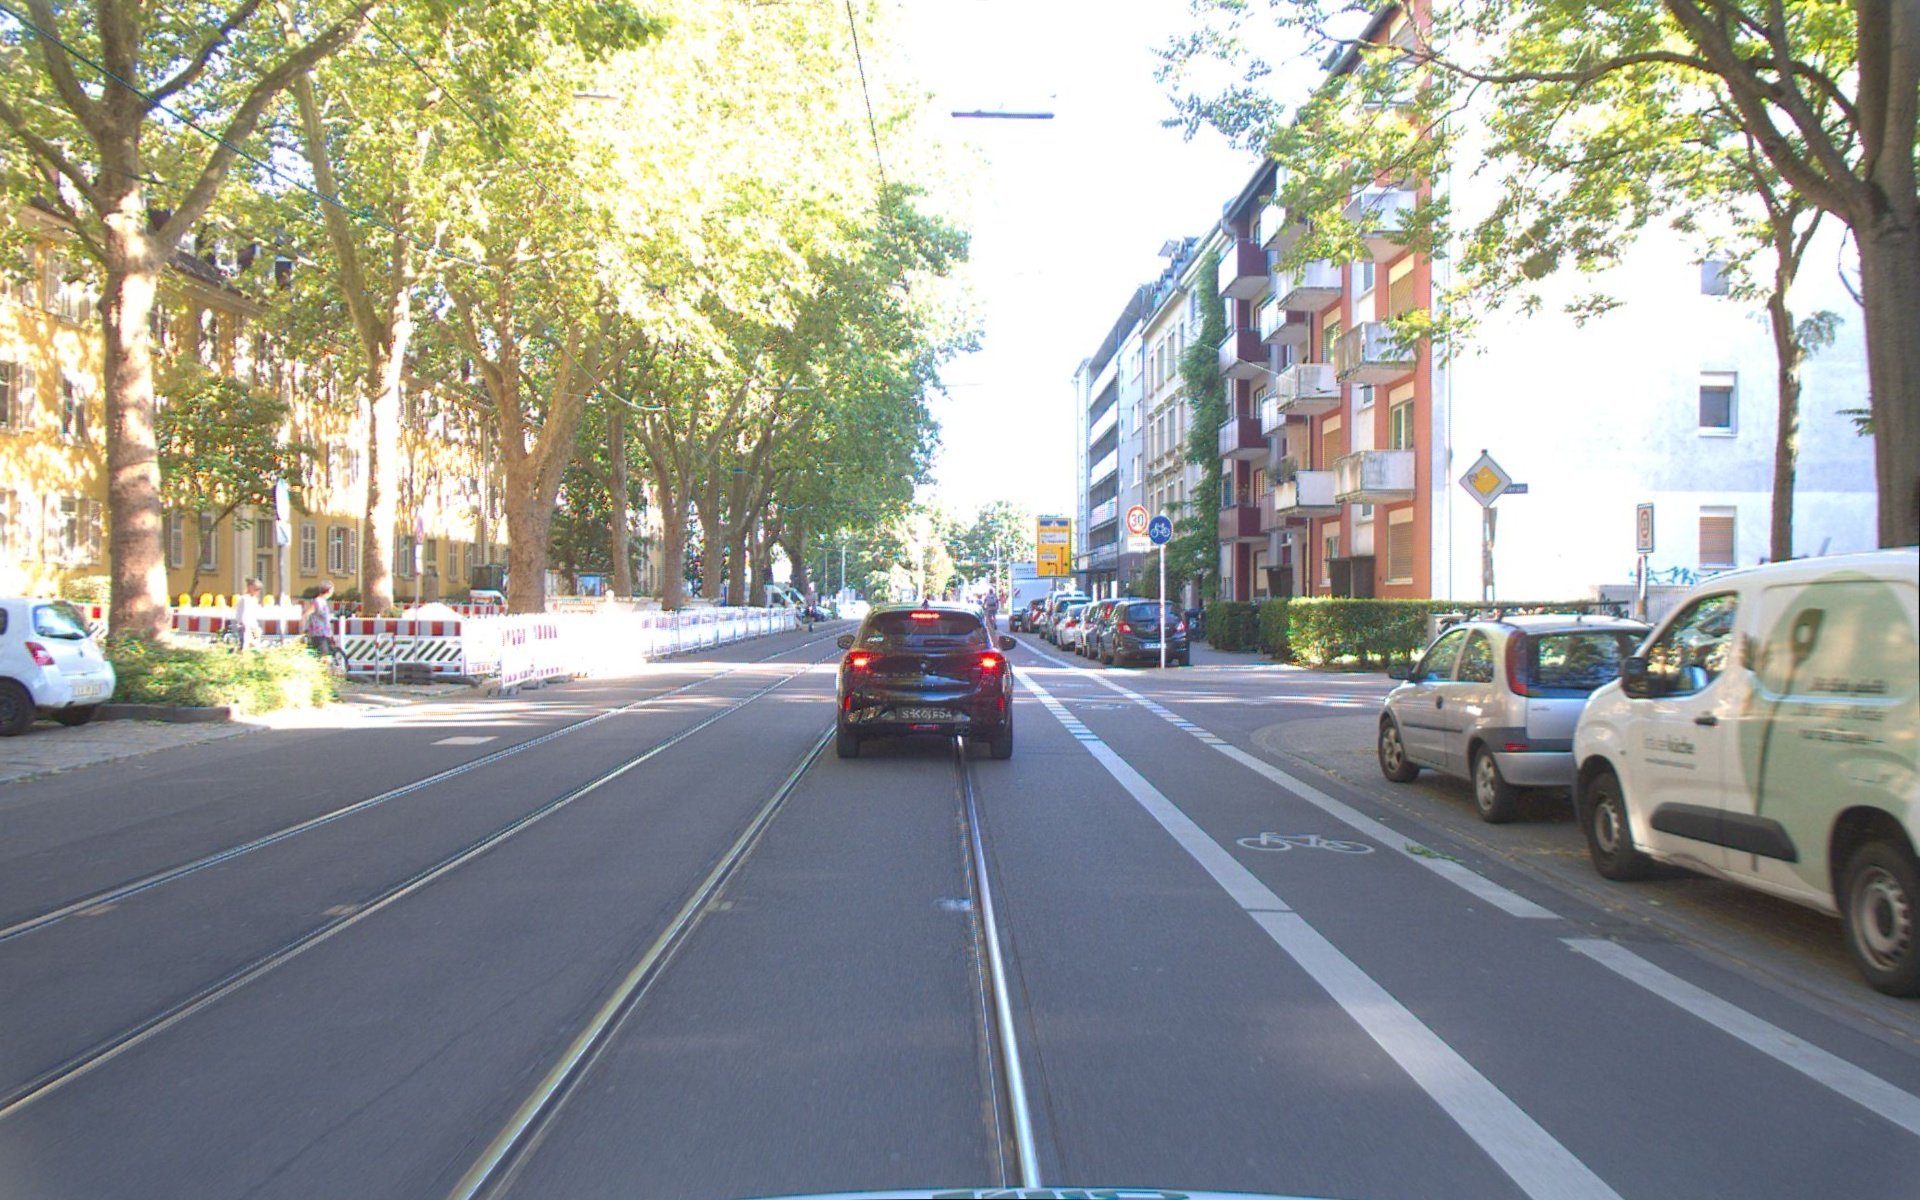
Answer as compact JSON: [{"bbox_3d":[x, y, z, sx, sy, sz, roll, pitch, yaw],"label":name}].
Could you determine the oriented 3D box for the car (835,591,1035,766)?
[{"bbox_3d":[-0.257,0.679,16.545,1.745,1.522,3.999,1,0,-1],"label":"car"}]

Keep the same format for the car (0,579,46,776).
[{"bbox_3d":[-10.495,0.694,14.314,4.144,1.717,1.934,0,0,6],"label":"car"}]

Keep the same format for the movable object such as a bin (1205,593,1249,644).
[{"bbox_3d":[7.313,0.497,45.415,0.905,1.350,1.681,1,0,0],"label":"movable object such as a bin"}]

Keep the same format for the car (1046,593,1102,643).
[{"bbox_3d":[3.898,0.589,56.951,1.626,1.608,3.588,-1,0,0],"label":"car"}]

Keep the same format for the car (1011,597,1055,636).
[{"bbox_3d":[3.183,0.712,72.811,1.695,1.584,4.151,-3,0,0],"label":"car"}]

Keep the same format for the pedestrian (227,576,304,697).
[{"bbox_3d":[-10.518,0.547,25.068,0.805,1.775,0.796,1,-1,-1],"label":"pedestrian"}]

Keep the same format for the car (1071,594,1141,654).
[{"bbox_3d":[4.026,0.662,46.195,1.559,1.553,3.835,-2,0,0],"label":"car"}]

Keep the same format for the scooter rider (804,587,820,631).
[{"bbox_3d":[-6.824,0.416,76.383,0.636,1.991,0.624,1,-1,0],"label":"scooter rider"}]

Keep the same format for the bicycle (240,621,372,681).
[{"bbox_3d":[-11.047,0.850,27.958,1.932,0.979,0.726,0,0,0],"label":"bicycle"}]

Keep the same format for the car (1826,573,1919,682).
[{"bbox_3d":[18.440,0.464,29.816,4.626,1.823,2.005,0,3,-2],"label":"car"}]

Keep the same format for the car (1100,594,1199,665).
[{"bbox_3d":[4.282,0.631,37.827,1.698,1.487,3.915,-2,0,-1],"label":"car"}]

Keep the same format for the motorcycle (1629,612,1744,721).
[{"bbox_3d":[9.265,0.818,21.185,0.663,1.321,2.259,0,0,5],"label":"motorcycle"}]

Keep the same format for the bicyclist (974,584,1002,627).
[{"bbox_3d":[1.117,0.212,65.495,1.067,1.676,1.400,1,0,0],"label":"bicyclist"}]

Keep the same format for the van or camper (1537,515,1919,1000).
[{"bbox_3d":[4.585,0.601,8.166,1.719,1.897,4.829,0,0,-1],"label":"van or camper"}]

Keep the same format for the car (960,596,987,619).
[{"bbox_3d":[1.078,0.563,133.477,1.953,1.725,4.739,-2,0,-1],"label":"car"}]

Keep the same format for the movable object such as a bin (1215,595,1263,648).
[{"bbox_3d":[7.350,0.557,43.572,0.947,1.350,1.721,1,0,0],"label":"movable object such as a bin"}]

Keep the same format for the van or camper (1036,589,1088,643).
[{"bbox_3d":[3.792,0.574,61.963,1.635,1.916,4.210,-1,0,0],"label":"van or camper"}]

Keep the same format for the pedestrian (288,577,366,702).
[{"bbox_3d":[-9.242,0.568,24.178,0.805,1.775,0.796,1,-1,-1],"label":"pedestrian"}]

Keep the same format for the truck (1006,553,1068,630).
[{"bbox_3d":[3.625,-0.378,79.175,2.486,3.396,7.194,-2,0,0],"label":"truck"}]

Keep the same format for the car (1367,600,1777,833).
[{"bbox_3d":[4.529,0.769,12.908,1.671,1.498,3.999,0,0,-1],"label":"car"}]

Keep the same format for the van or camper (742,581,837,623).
[{"bbox_3d":[-10.263,0.140,100.040,5.387,2.421,2.270,1,0,3],"label":"van or camper"}]

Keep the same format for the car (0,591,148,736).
[{"bbox_3d":[-11.382,0.679,18.399,3.769,1.524,1.862,0,0,-1],"label":"car"}]

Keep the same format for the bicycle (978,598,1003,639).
[{"bbox_3d":[1.206,0.709,65.725,0.897,1.588,3.404,1,0,0],"label":"bicycle"}]

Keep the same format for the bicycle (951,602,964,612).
[{"bbox_3d":[-0.269,0.736,169.671,0.771,1.009,2.245,1,0,16],"label":"bicycle"}]

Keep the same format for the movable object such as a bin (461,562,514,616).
[{"bbox_3d":[-17.121,-0.392,59.992,1.306,1.901,2.007,1,0,-1],"label":"movable object such as a bin"}]

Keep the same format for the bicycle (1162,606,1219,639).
[{"bbox_3d":[7.798,0.765,56.066,1.854,1.047,0.476,-2,0,4],"label":"bicycle"}]

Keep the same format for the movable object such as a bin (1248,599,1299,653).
[{"bbox_3d":[7.988,0.655,42.213,1.129,1.350,0.775,1,-1,-1],"label":"movable object such as a bin"}]

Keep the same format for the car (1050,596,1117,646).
[{"bbox_3d":[3.823,0.631,51.940,1.625,1.424,4.739,-2,0,-1],"label":"car"}]

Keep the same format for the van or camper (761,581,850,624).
[{"bbox_3d":[-10.176,0.191,109.330,5.607,2.690,2.269,1,0,0],"label":"van or camper"}]

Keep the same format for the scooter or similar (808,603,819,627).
[{"bbox_3d":[-6.774,0.681,76.431,0.399,1.102,1.338,1,0,0],"label":"scooter or similar"}]

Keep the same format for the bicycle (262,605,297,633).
[{"bbox_3d":[-20.523,0.573,49.923,0.496,0.833,1.642,0,0,-4],"label":"bicycle"}]

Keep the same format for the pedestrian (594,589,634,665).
[{"bbox_3d":[-7.924,0.616,37.908,0.702,1.698,0.778,1,-1,0],"label":"pedestrian"}]

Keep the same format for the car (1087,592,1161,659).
[{"bbox_3d":[4.134,0.629,42.103,1.495,1.618,3.751,1,0,0],"label":"car"}]

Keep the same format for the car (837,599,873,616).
[{"bbox_3d":[-11.096,0.782,175.123,1.899,1.725,4.272,-2,0,-33],"label":"car"}]

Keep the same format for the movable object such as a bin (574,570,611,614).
[{"bbox_3d":[-14.429,-0.312,65.023,1.075,1.674,1.559,1,0,-1],"label":"movable object such as a bin"}]
